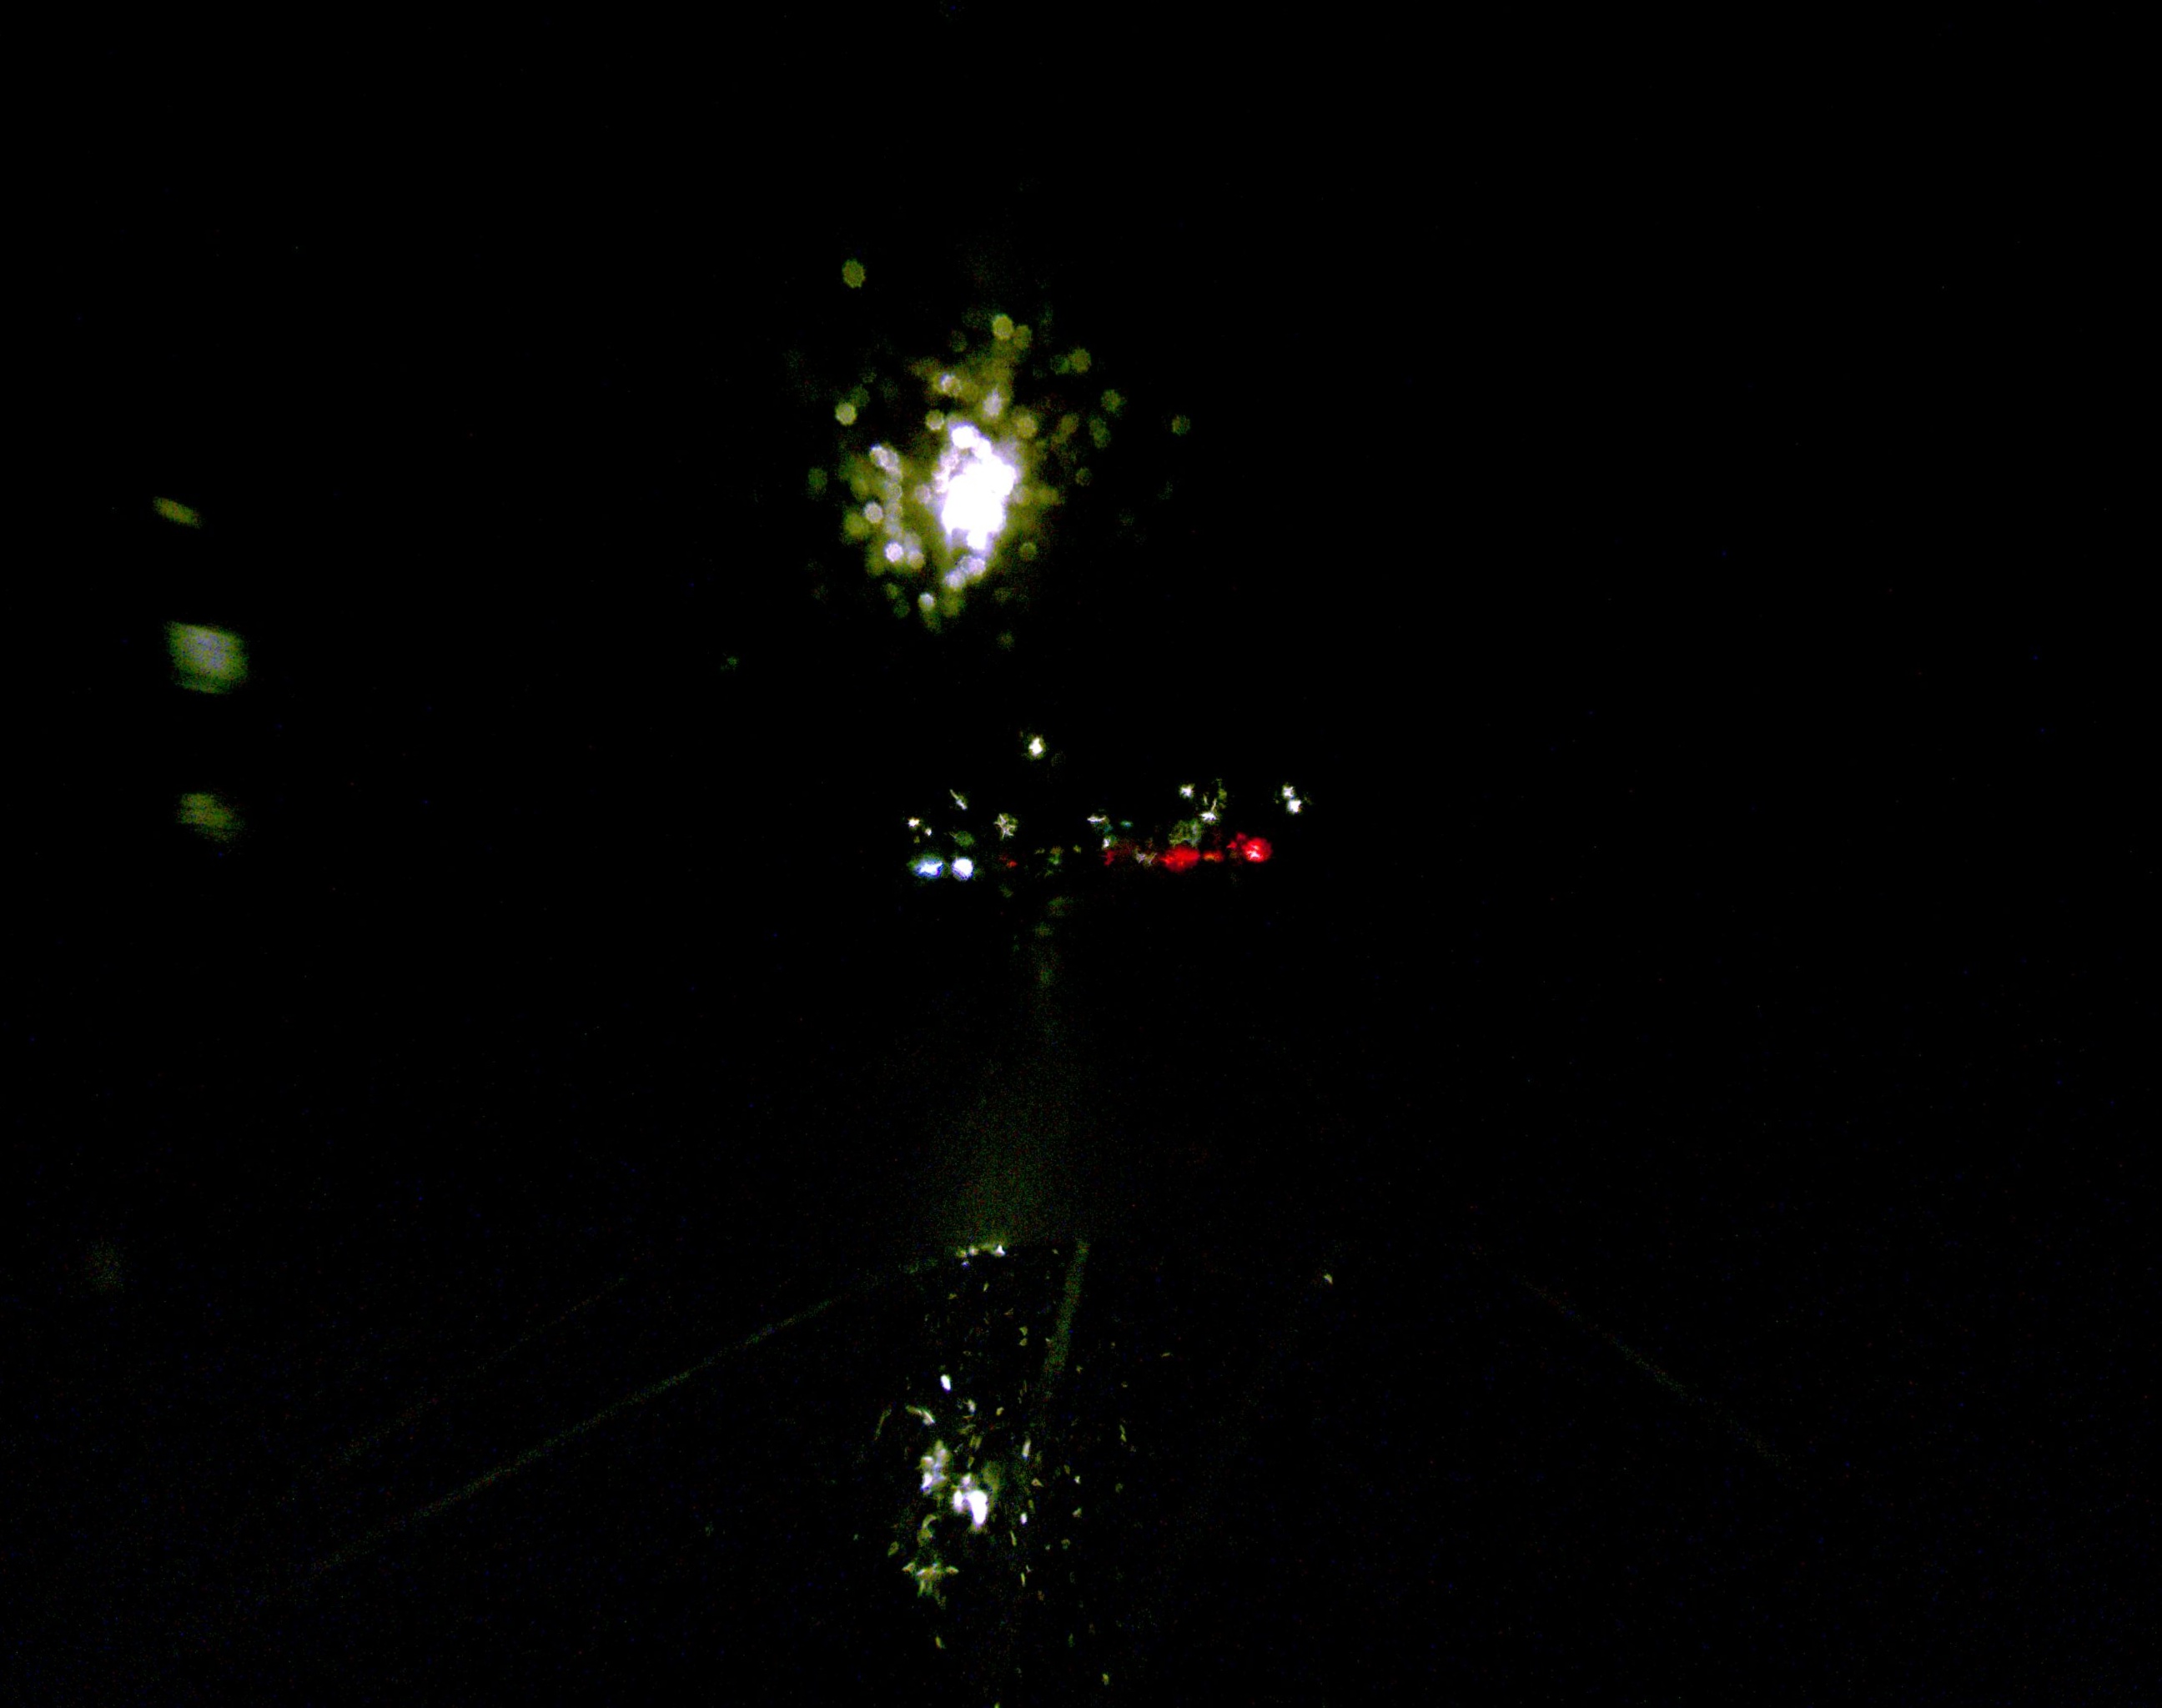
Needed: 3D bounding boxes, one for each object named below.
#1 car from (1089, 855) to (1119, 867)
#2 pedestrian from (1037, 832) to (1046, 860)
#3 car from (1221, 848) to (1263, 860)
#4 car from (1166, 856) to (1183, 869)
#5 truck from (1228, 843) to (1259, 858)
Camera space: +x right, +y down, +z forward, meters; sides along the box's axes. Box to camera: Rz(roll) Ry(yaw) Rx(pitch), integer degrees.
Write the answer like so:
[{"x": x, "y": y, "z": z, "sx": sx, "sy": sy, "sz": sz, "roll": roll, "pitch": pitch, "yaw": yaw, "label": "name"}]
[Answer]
[{"x": 3.536, "y": 1.042, "z": 116.913, "sx": 4.430, "sy": 1.612, "sz": 1.999, "roll": -1, "pitch": 1, "yaw": -4, "label": "car"}, {"x": -2.857, "y": -0.552, "z": 54.833, "sx": 0.550, "sy": 2.002, "sz": 0.742, "roll": -1, "pitch": 1, "yaw": 1, "label": "pedestrian"}, {"x": 26.035, "y": -0.050, "z": 122.689, "sx": 6.446, "sy": 1.805, "sz": 1.997, "roll": -2, "pitch": 1, "yaw": -16, "label": "car"}, {"x": 12.218, "y": 1.111, "z": 99.230, "sx": 1.997, "sy": 1.447, "sz": 4.305, "roll": 2, "pitch": 1, "yaw": 8, "label": "car"}, {"x": 27.851, "y": -0.649, "z": 129.615, "sx": 2.316, "sy": 2.383, "sz": 7.828, "roll": -1, "pitch": 1, "yaw": 34, "label": "truck"}]
